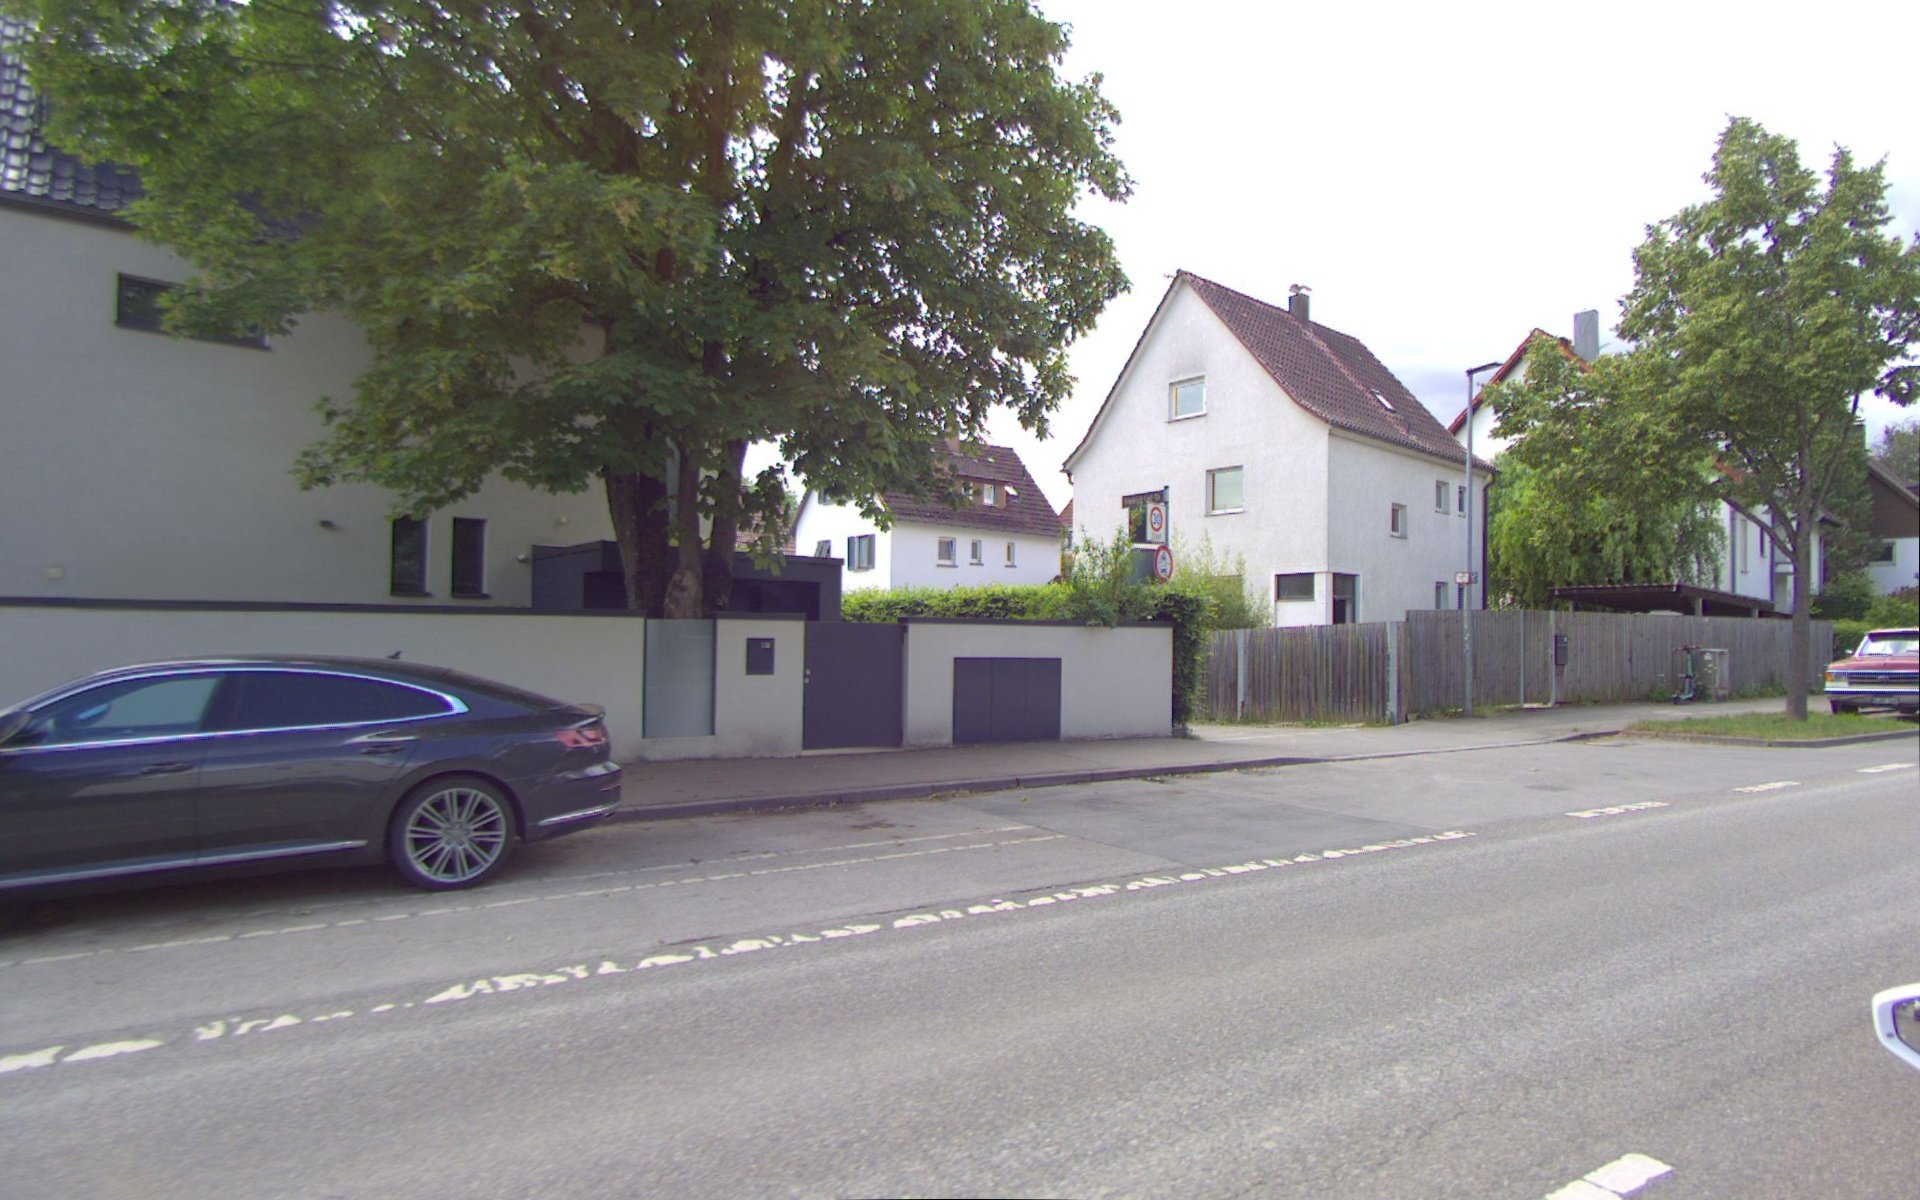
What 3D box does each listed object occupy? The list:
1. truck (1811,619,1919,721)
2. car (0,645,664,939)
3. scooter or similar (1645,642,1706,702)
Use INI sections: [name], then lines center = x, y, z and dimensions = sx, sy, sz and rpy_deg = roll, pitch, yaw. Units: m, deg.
[truck]
center = 19.931, 1.398, 20.622
dimensions = 5.598, 1.892, 1.958
rpy_deg = 1, -4, -30
[car]
center = -4.466, 1.000, 6.079
dimensions = 4.871, 1.426, 1.737
rpy_deg = 1, -3, -31
[scooter or similar]
center = 15.457, 1.543, 21.703
dimensions = 1.291, 1.228, 0.631
rpy_deg = 2, 0, -34
